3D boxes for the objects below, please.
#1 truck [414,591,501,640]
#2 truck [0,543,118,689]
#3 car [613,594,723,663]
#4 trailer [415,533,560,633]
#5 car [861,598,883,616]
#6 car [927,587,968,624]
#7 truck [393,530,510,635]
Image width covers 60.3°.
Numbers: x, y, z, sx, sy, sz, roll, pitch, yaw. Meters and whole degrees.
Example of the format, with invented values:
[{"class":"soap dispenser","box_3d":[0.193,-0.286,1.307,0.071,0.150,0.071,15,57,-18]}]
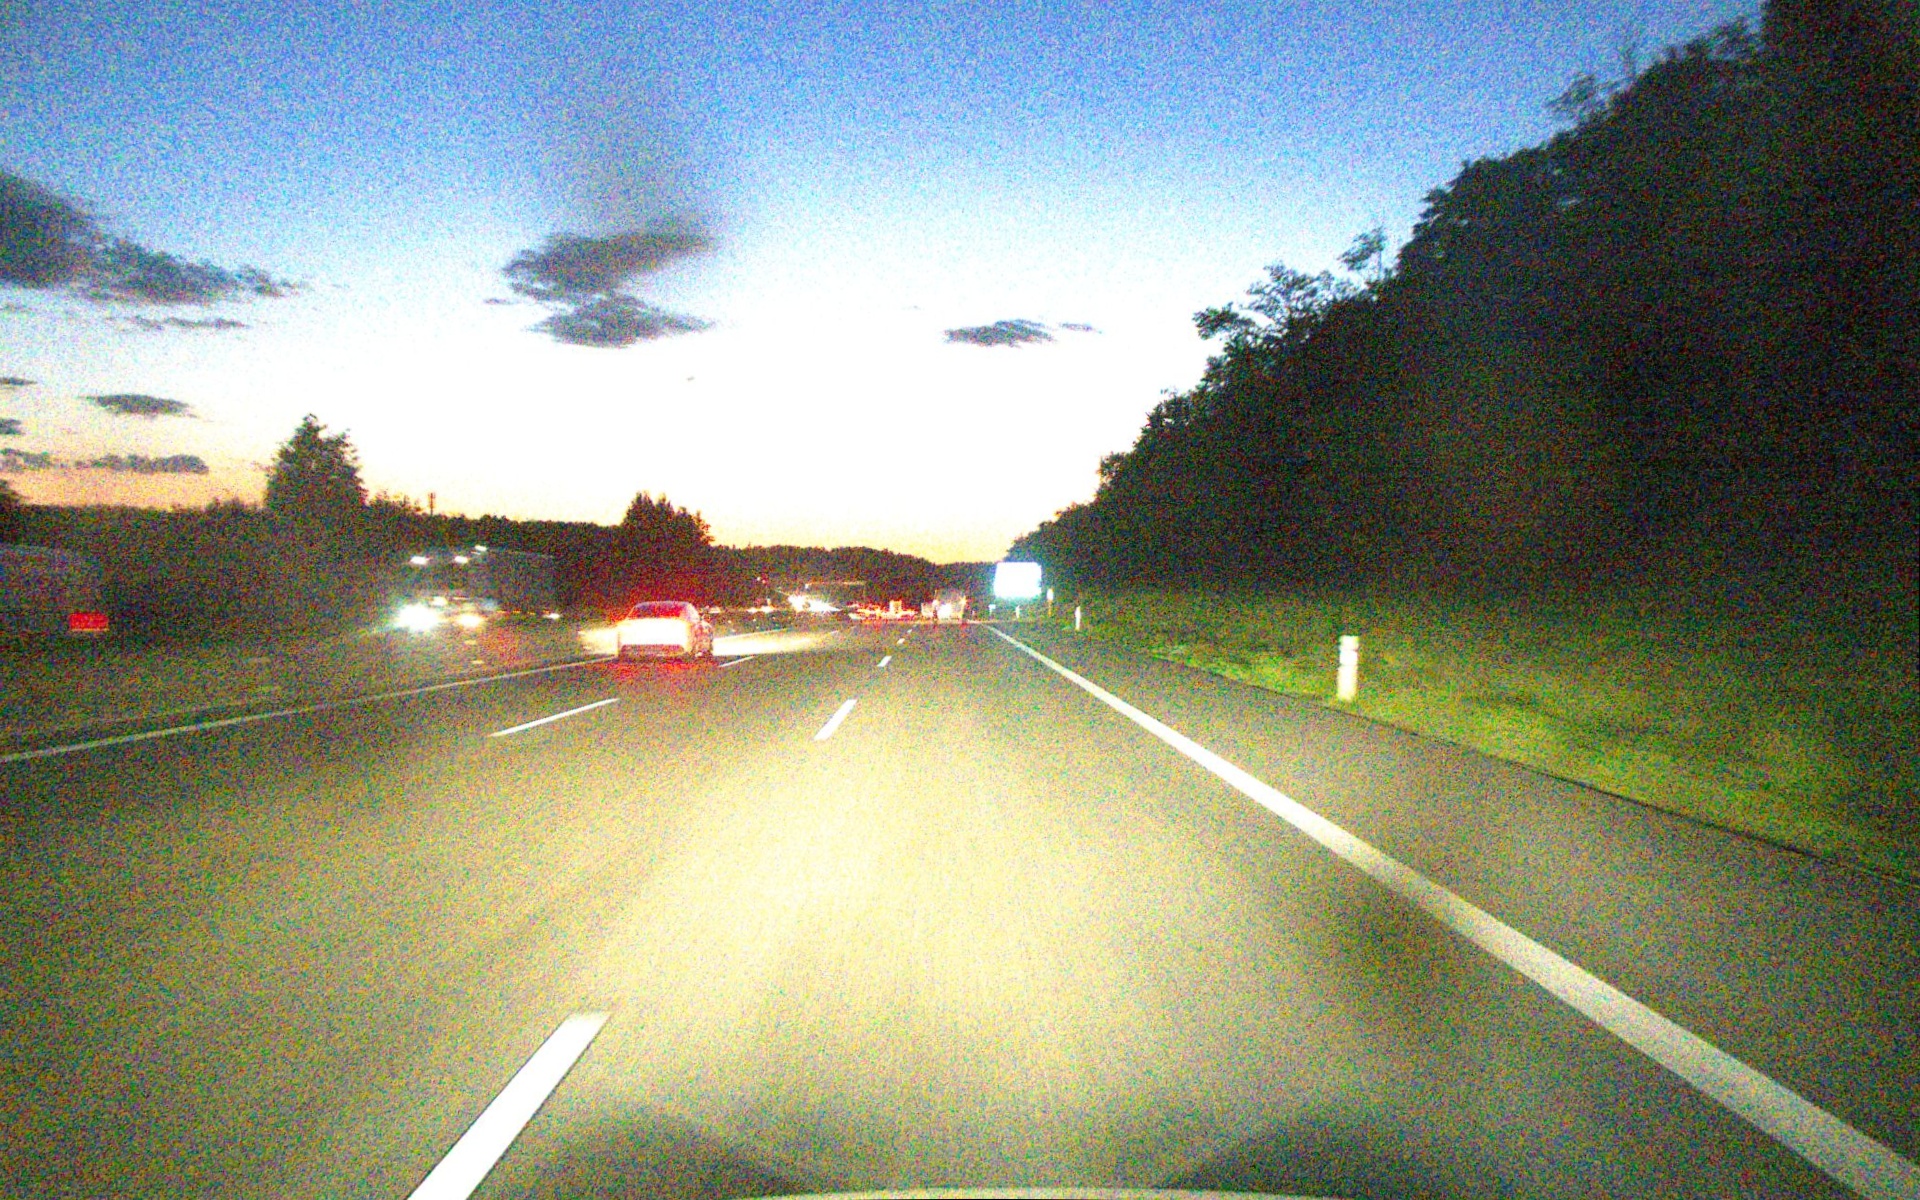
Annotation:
[{"class":"truck","box_3d":[-19.124,0.564,63.153,1.993,1.787,4.761,1,0,-2]},{"class":"truck","box_3d":[-19.103,0.294,30.888,2.814,2.688,7.884,0,0,-1]},{"class":"car","box_3d":[-6.956,0.638,39.912,1.743,1.513,5.253,1,0,-1]},{"class":"trailer","box_3d":[-23.033,-0.795,81.774,3.257,4.511,14.022,-1,0,-1]},{"class":"car","box_3d":[-9.924,0.762,186.786,2.152,1.989,4.633,1,0,-1]},{"class":"car","box_3d":[-0.702,0.296,97.041,2.151,1.989,4.764,-2,0,1]},{"class":"truck","box_3d":[-22.957,-0.774,75.054,3.257,4.511,6.706,-1,0,-1]}]
